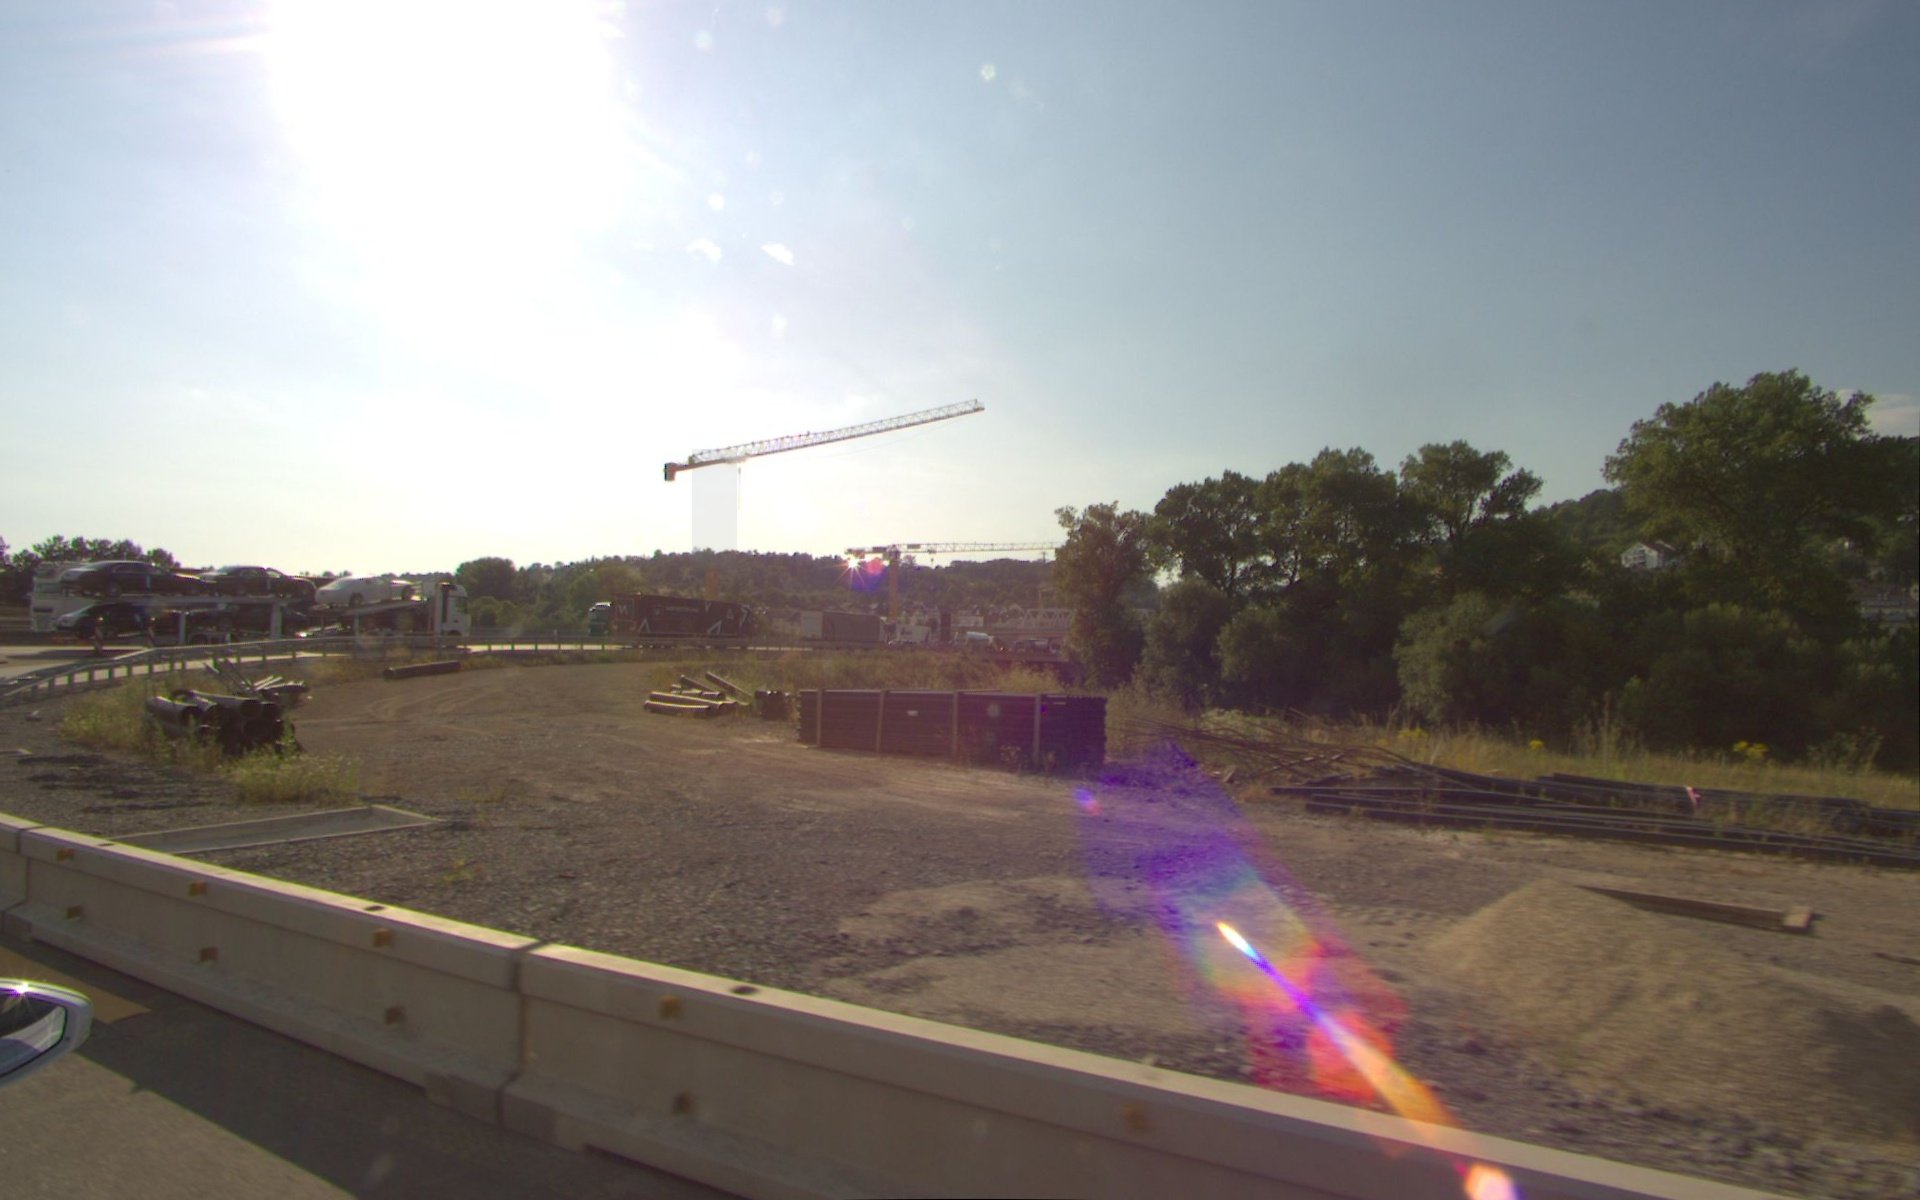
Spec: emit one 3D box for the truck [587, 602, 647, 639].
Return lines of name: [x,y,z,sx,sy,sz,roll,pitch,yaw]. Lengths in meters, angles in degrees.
truck: [-30.756,1.904,90.071,2.109,3.173,5.683,0,-3,18]

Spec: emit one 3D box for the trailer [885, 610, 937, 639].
trailer: [-7.278,3.845,152.567,2.590,4.116,14.060,0,-3,20]

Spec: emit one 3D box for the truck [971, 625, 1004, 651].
truck: [4.433,6.057,158.912,3.341,4.046,6.616,1,-2,20]

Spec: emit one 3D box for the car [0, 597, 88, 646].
car: [-40.476,0.889,42.402,1.999,2.006,4.971,3,-2,21]

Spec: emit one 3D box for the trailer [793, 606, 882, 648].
trailer: [-13.092,3.074,109.061,3.336,4.046,14.727,1,-3,20]

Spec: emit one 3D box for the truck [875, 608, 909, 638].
truck: [-9.887,3.425,145.528,2.590,4.117,6.121,0,-3,20]

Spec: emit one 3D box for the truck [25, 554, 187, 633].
truck: [-44.522,-0.216,52.399,2.954,3.773,5.680,-1,-3,20]

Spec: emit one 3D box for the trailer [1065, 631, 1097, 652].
trailer: [26.759,9.279,220.382,4.038,4.367,14.235,1,-3,20]

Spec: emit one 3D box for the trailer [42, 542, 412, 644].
trailer: [-34.802,0.018,49.285,2.816,4.046,15.727,1,-3,19]

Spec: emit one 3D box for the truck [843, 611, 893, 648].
truck: [-10.597,3.417,116.064,3.295,4.046,6.616,1,-2,20]

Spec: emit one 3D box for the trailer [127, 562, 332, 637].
trailer: [-42.266,0.149,58.500,2.964,3.798,9.556,-1,-3,21]

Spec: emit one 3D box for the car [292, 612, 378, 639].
car: [-37.854,1.572,60.770,1.633,1.519,4.231,3,-2,21]

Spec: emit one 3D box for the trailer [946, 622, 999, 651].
trailer: [2.041,5.690,152.135,3.336,4.046,14.727,1,-3,20]

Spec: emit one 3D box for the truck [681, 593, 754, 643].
truck: [-20.976,1.660,87.136,2.844,4.046,6.615,1,-3,21]

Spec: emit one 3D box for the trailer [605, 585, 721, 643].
trailer: [-23.528,1.247,80.283,2.917,4.142,10.778,0,-3,21]

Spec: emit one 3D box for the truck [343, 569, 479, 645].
truck: [-31.722,0.514,58.174,2.807,4.046,6.616,1,-2,20]

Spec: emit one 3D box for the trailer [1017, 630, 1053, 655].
trailer: [14.141,8.003,187.117,3.059,4.367,14.235,1,-3,20]

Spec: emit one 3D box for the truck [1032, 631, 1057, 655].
truck: [16.403,8.358,193.487,3.053,4.339,6.616,1,-2,20]
